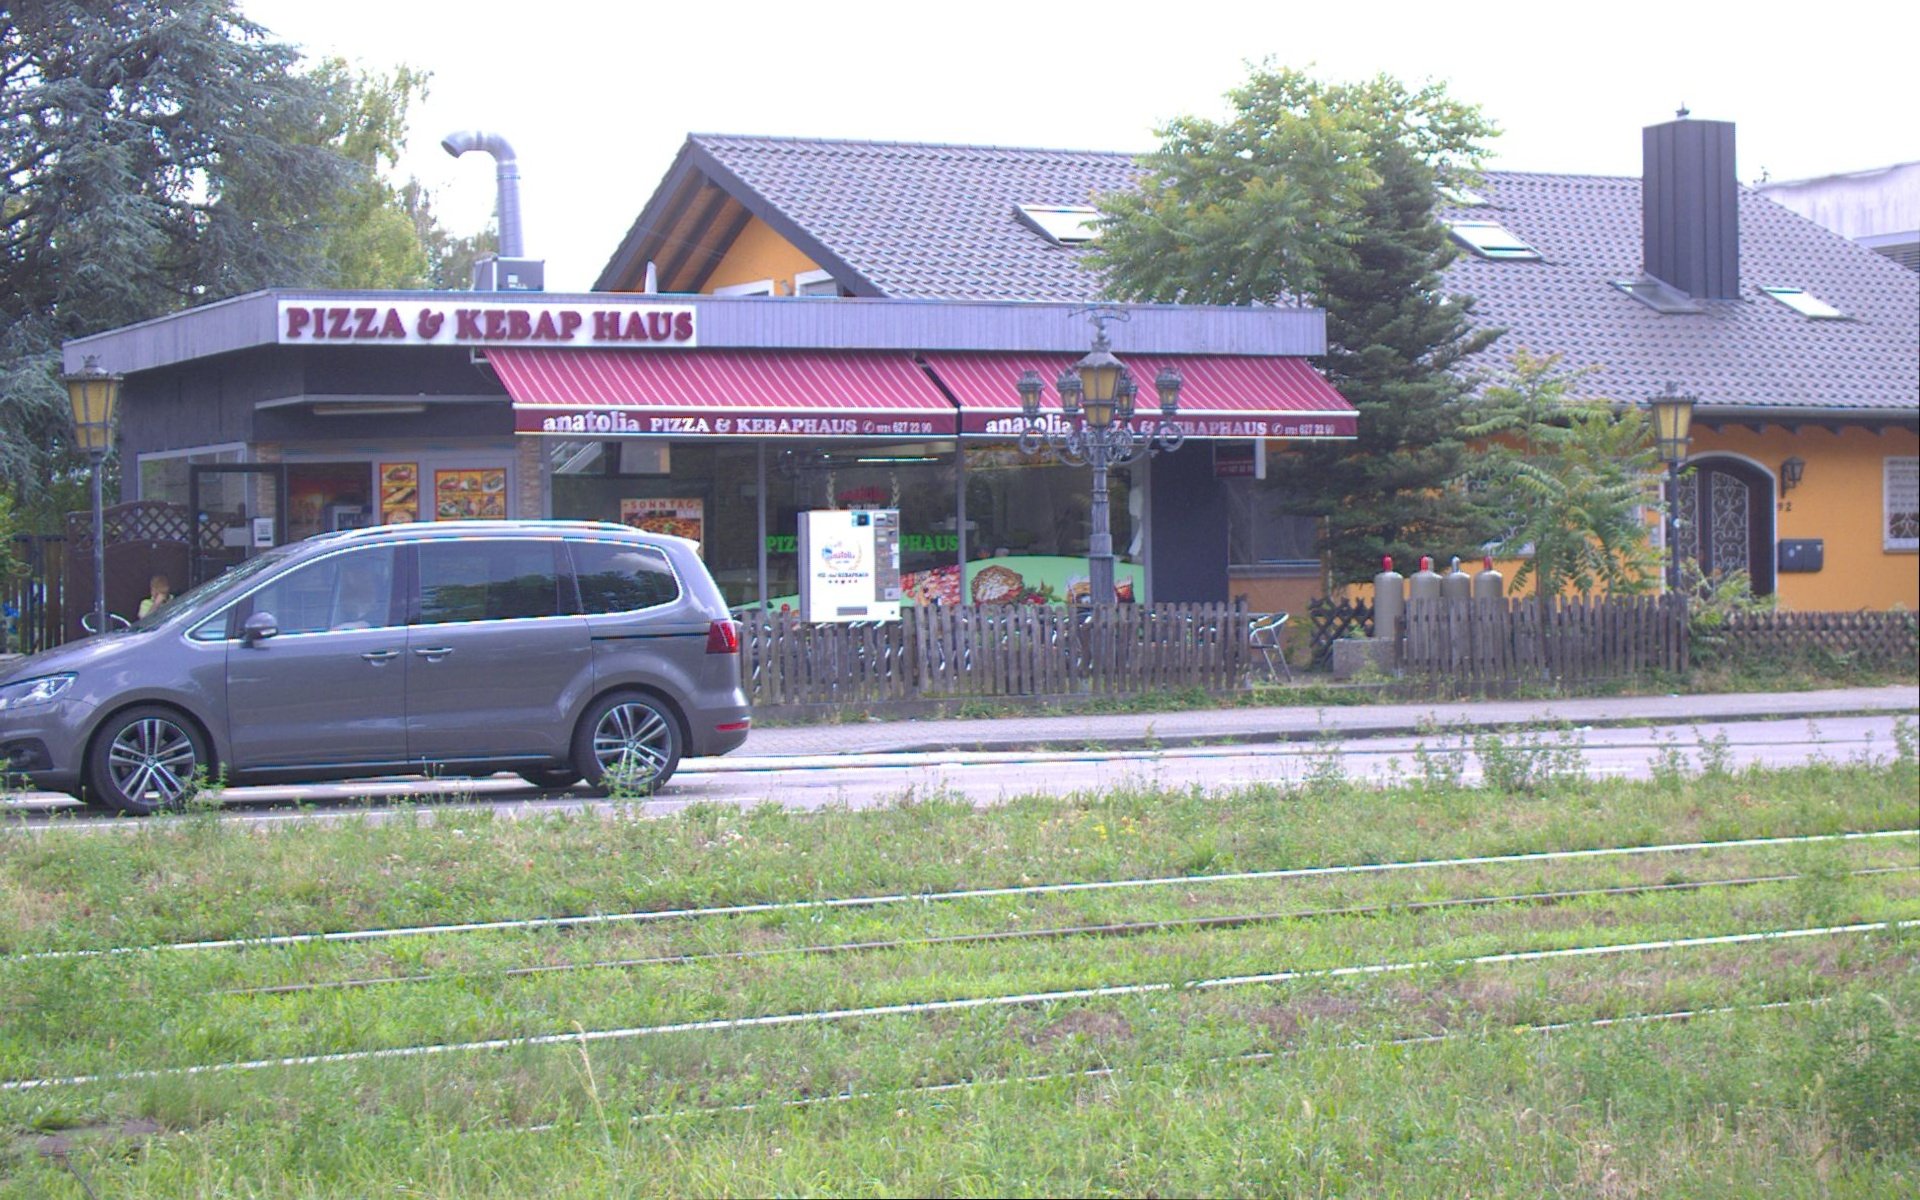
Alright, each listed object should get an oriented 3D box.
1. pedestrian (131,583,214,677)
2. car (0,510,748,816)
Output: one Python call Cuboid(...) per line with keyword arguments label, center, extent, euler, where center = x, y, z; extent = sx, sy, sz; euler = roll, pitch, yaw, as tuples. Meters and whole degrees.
Cuboid(label="pedestrian", center=(-8.164, 0.306, 35.637), extent=(0.724, 0.926, 0.777), euler=(0, 2, -22))
Cuboid(label="car", center=(-3.883, 0.327, 21.272), extent=(4.724, 1.716, 2.000), euler=(-1, 1, -23))
